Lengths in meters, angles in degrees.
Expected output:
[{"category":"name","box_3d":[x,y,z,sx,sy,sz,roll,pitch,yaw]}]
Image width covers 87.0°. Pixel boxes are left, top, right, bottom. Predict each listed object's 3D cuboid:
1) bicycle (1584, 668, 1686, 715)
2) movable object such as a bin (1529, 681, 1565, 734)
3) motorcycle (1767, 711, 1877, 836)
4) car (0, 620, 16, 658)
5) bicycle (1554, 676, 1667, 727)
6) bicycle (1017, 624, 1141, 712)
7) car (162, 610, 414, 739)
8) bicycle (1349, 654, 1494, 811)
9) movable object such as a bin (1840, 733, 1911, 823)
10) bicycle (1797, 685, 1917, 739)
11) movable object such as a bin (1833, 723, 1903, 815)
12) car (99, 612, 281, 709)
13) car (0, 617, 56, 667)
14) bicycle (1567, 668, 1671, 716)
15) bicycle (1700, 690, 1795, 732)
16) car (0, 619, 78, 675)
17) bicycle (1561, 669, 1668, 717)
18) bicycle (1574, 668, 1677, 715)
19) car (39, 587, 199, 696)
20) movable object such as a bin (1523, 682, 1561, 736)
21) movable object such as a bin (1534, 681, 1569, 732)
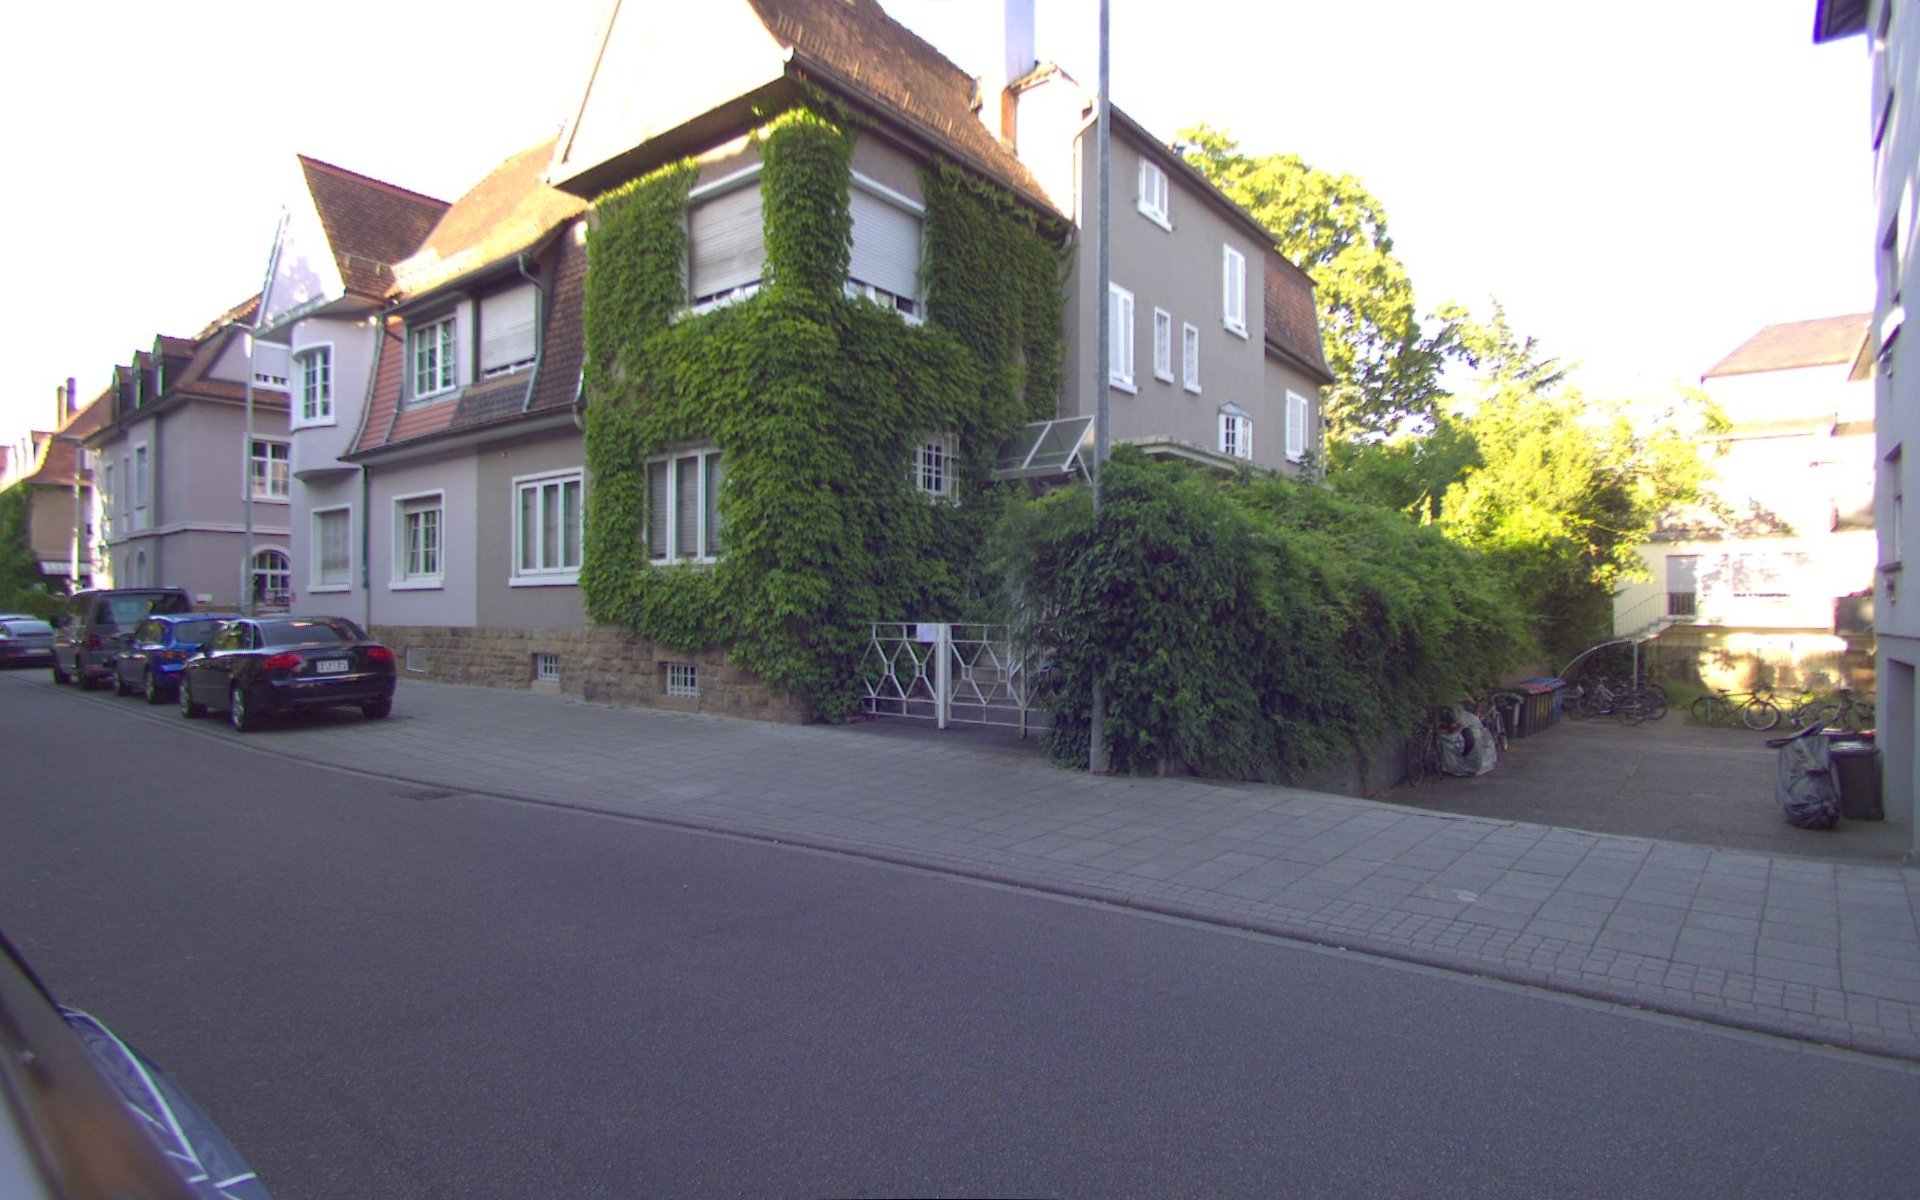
[{"category":"bicycle","box_3d":[19.197,2.588,28.830,2.338,1.186,0.685,-1,-4,42]},{"category":"movable object such as a bin","box_3d":[13.175,2.406,22.716,0.611,1.123,0.792,-1,-4,37]},{"category":"motorcycle","box_3d":[10.705,2.110,12.625,0.742,1.305,1.565,-1,-2,30]},{"category":"car","box_3d":[-36.328,1.444,37.507,3.676,1.372,1.641,-1,1,42]},{"category":"bicycle","box_3d":[16.238,2.512,25.302,2.294,1.142,0.685,-1,-4,42]},{"category":"bicycle","box_3d":[1.698,0.913,14.185,0.476,1.111,2.172,-1,-1,45]},{"category":"car","box_3d":[-9.423,0.913,14.043,4.426,1.457,1.783,-1,1,41]},{"category":"bicycle","box_3d":[6.821,1.779,14.752,0.971,1.907,4.138,-1,-2,38]},{"category":"movable object such as a bin","box_3d":[11.714,2.265,12.966,0.611,1.045,0.532,-1,-4,37]},{"category":"bicycle","box_3d":[20.368,2.529,23.026,2.005,1.080,0.558,-1,-4,42]},{"category":"movable object such as a bin","box_3d":[12.296,2.270,13.727,0.611,1.123,0.792,-1,-4,37]},{"category":"car","box_3d":[-13.640,0.984,17.845,4.060,1.457,1.745,-1,1,41]},{"category":"car","box_3d":[-30.176,1.300,32.030,4.061,1.478,1.907,-1,1,42]},{"category":"bicycle","box_3d":[18.055,2.491,27.767,2.338,1.186,0.685,-1,-4,42]},{"category":"bicycle","box_3d":[18.891,2.654,24.301,1.754,0.886,0.558,-1,-4,42]},{"category":"car","box_3d":[-26.162,1.269,28.296,4.063,1.394,1.906,-1,1,44]},{"category":"bicycle","box_3d":[17.504,2.466,27.115,2.338,1.142,0.685,-1,-4,42]},{"category":"bicycle","box_3d":[18.614,2.536,28.336,2.338,1.186,0.685,-1,-4,42]},{"category":"car","box_3d":[-17.528,0.790,21.015,4.610,1.990,1.819,-1,1,41]},{"category":"movable object such as a bin","box_3d":[12.699,2.371,22.074,0.611,1.123,0.792,-1,-4,37]},{"category":"movable object such as a bin","box_3d":[13.646,2.439,23.348,0.611,1.123,0.792,-1,-4,37]}]
